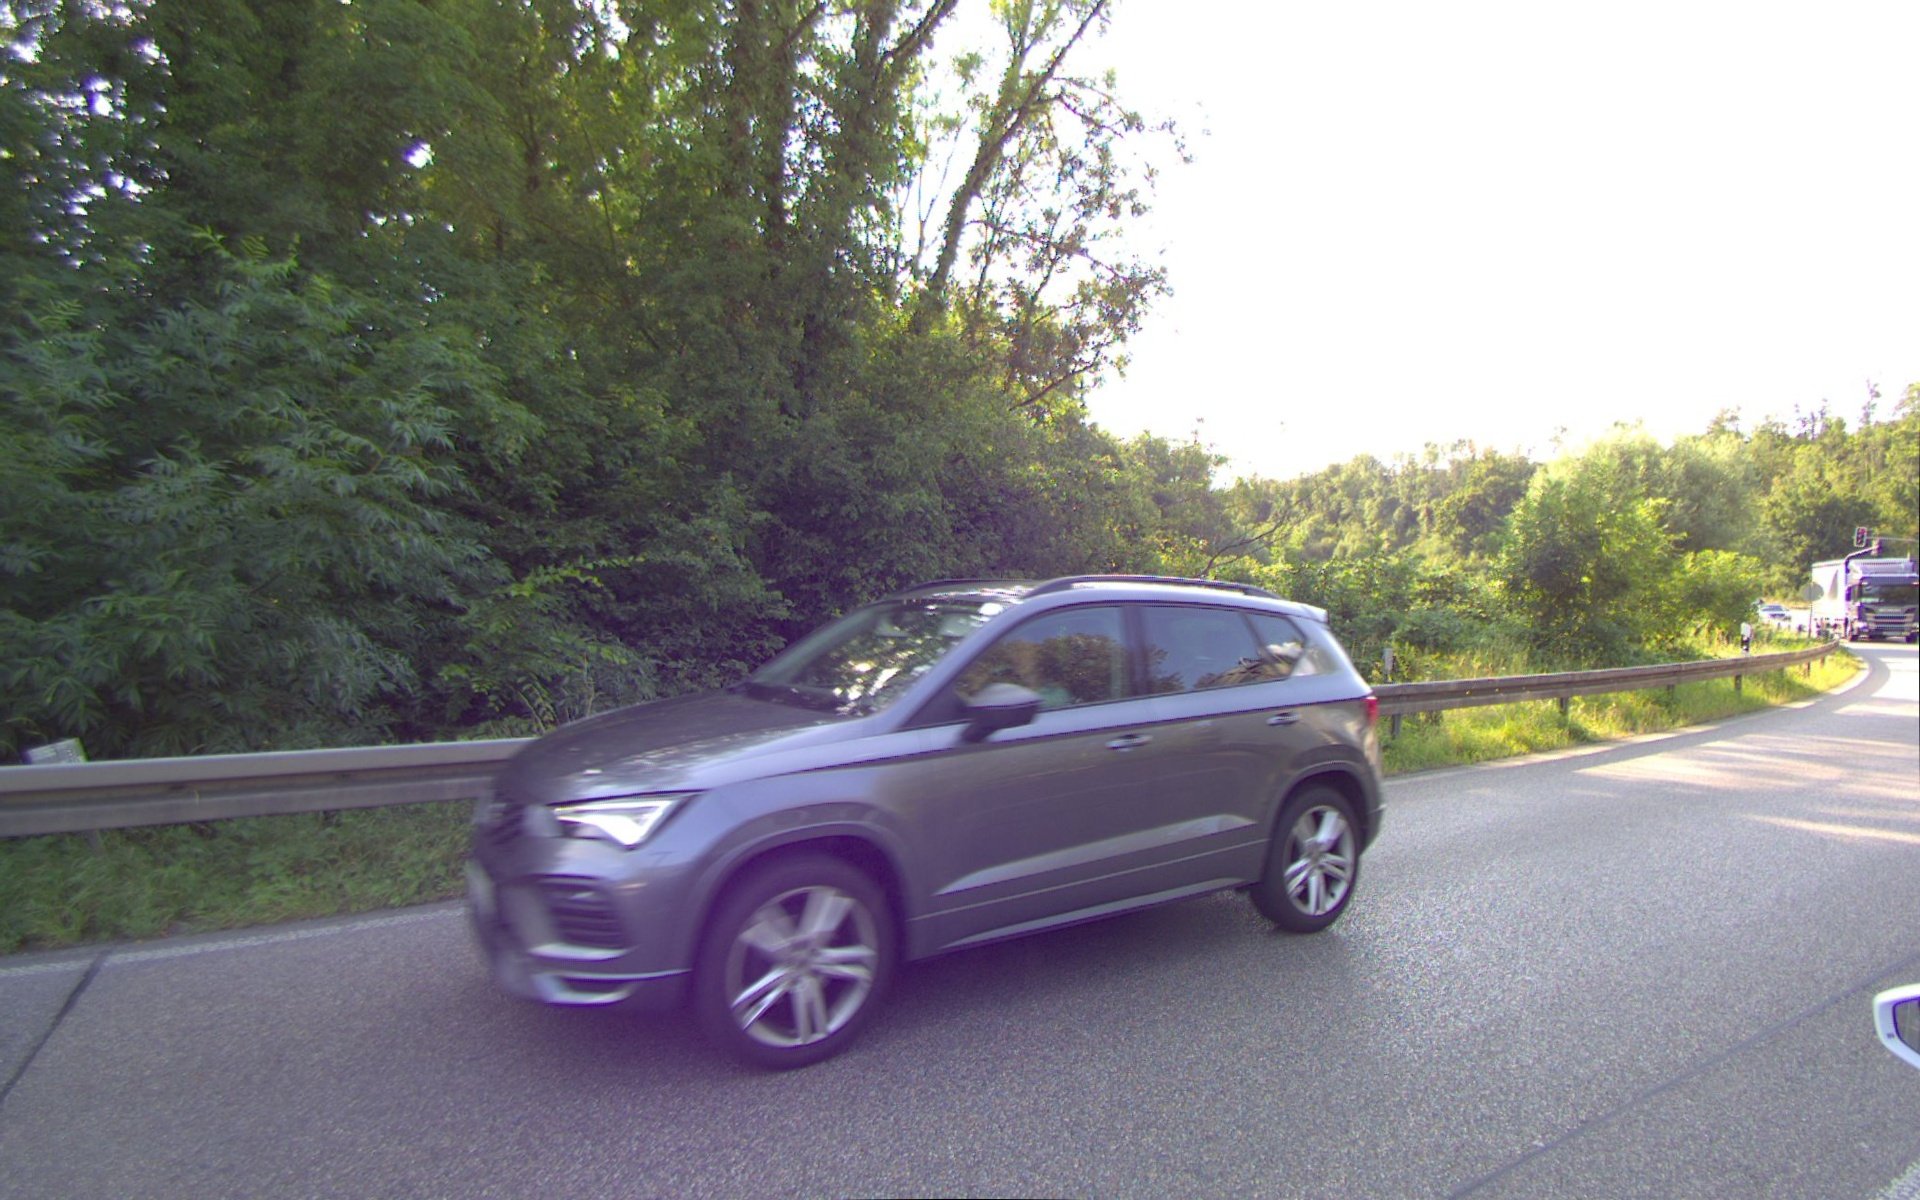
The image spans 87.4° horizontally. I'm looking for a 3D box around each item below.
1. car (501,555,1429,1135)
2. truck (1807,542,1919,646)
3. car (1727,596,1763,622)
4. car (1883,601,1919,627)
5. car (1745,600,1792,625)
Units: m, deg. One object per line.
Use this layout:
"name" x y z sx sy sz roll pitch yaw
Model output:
"car" 0.176 0.680 4.637 3.958 1.586 1.856 0 0 -34
"truck" 44.943 -0.216 49.694 2.969 4.646 10.217 2 0 32
"car" 61.846 0.719 79.138 1.847 1.876 3.977 4 2 43
"car" 59.989 0.884 63.281 1.841 1.586 3.991 3 2 31
"car" 56.313 0.829 70.034 1.840 1.577 3.992 3 2 30
